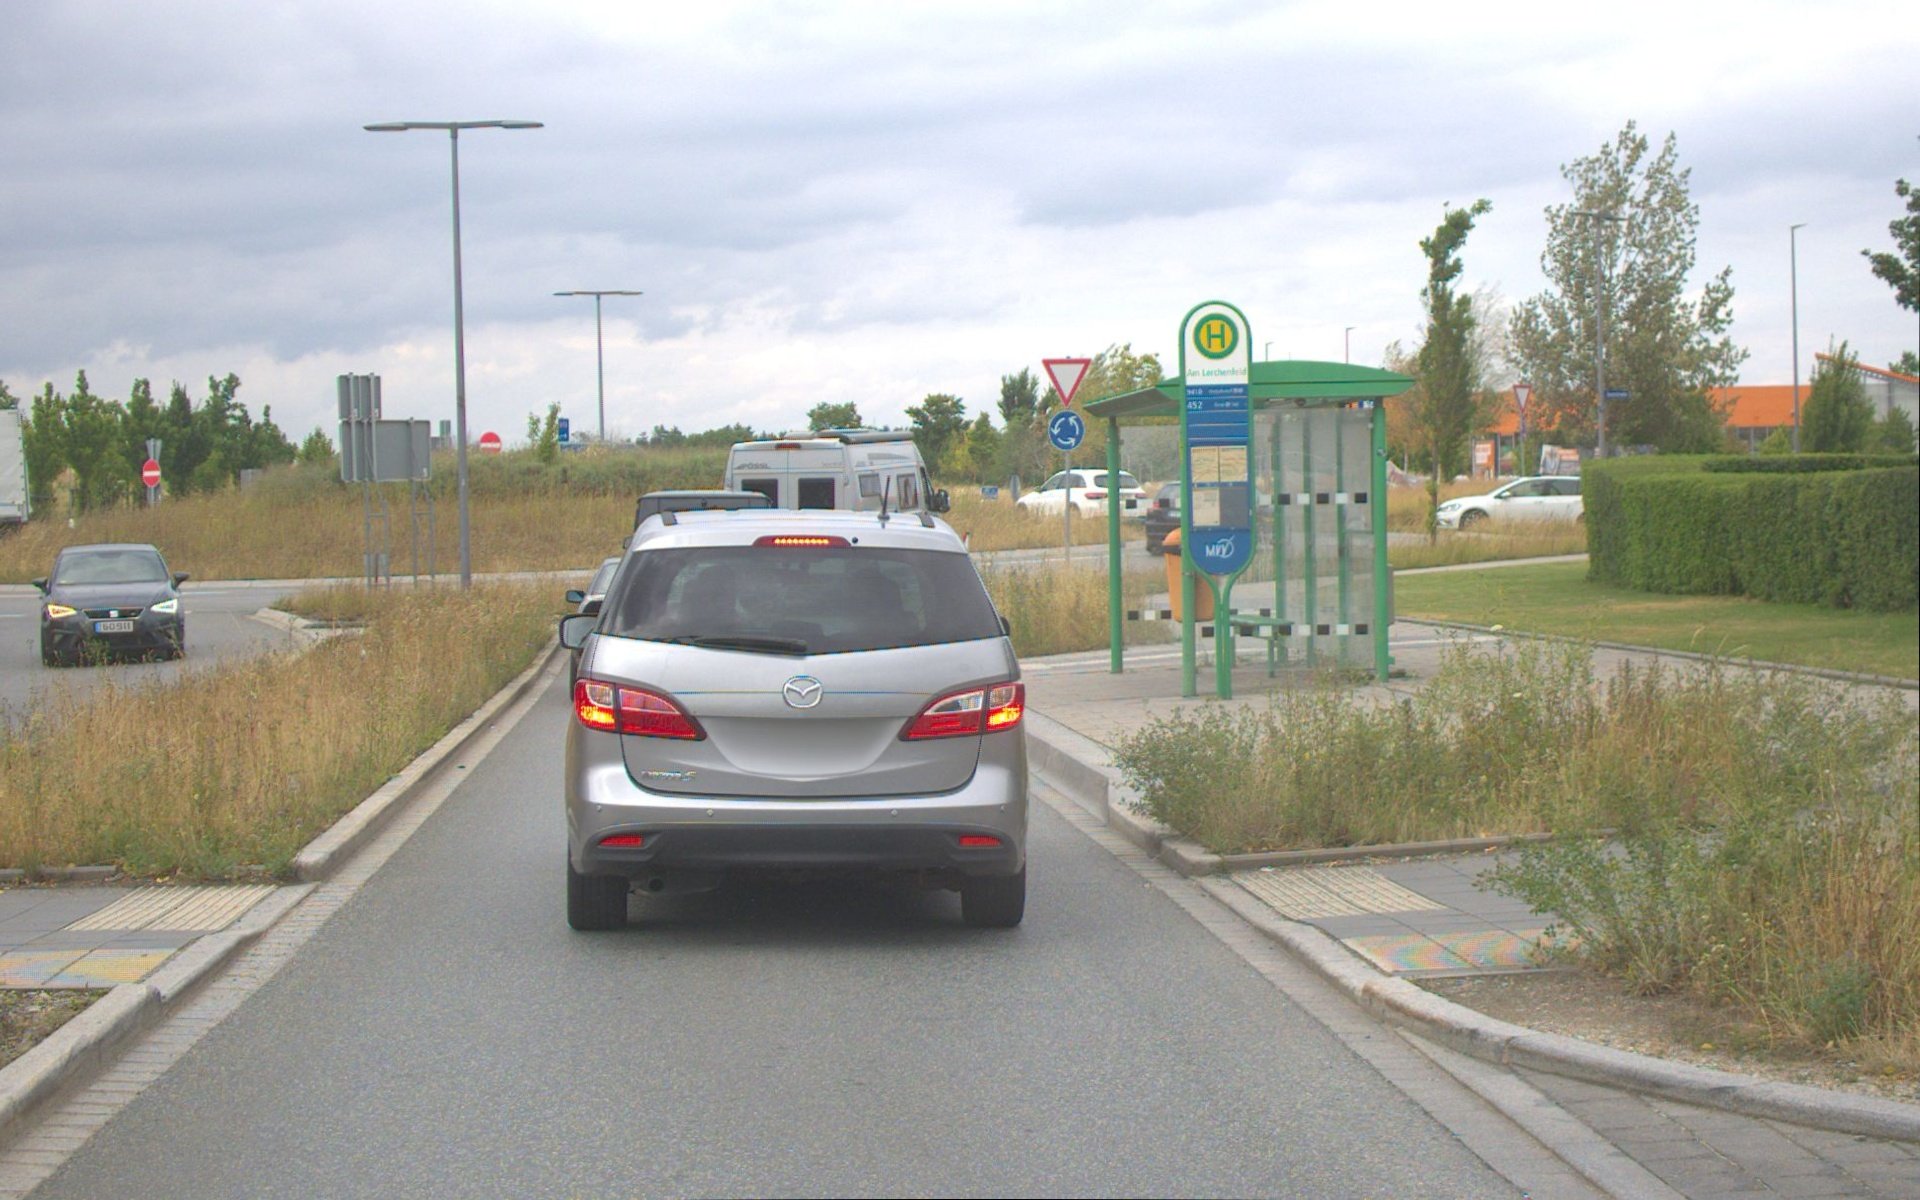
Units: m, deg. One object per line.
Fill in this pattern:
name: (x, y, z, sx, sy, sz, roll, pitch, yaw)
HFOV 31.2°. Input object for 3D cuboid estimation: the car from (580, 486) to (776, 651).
car: (-3.272, -0.406, 40.734, 2.058, 1.819, 4.787, -1, 1, -2)

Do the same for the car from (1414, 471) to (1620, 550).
car: (12.842, -2.073, 79.523, 4.603, 1.751, 2.000, -1, 1, 7)

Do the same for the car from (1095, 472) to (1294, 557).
car: (4.412, -1.604, 64.242, 1.997, 1.510, 3.993, 0, 2, 33)

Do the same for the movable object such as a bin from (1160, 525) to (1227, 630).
movable object such as a bin: (1.794, -0.175, 26.434, 0.456, 0.795, 0.380, -1, 1, -5)

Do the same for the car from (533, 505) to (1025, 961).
car: (-0.744, 0.418, 14.027, 1.729, 1.594, 3.808, 0, 2, -3)

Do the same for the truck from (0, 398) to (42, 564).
truck: (-26.508, -2.701, 80.059, 9.305, 3.893, 3.143, -2, 1, -31)

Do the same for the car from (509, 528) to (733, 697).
car: (-3.131, 0.068, 32.474, 1.844, 1.413, 4.225, -1, 2, -2)

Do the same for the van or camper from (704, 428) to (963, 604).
van or camper: (-1.816, -1.267, 51.664, 2.304, 2.497, 5.202, 0, 2, 17)

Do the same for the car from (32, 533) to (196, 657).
car: (-10.661, -0.092, 43.514, 1.841, 1.402, 4.001, -3, 2, -12)
